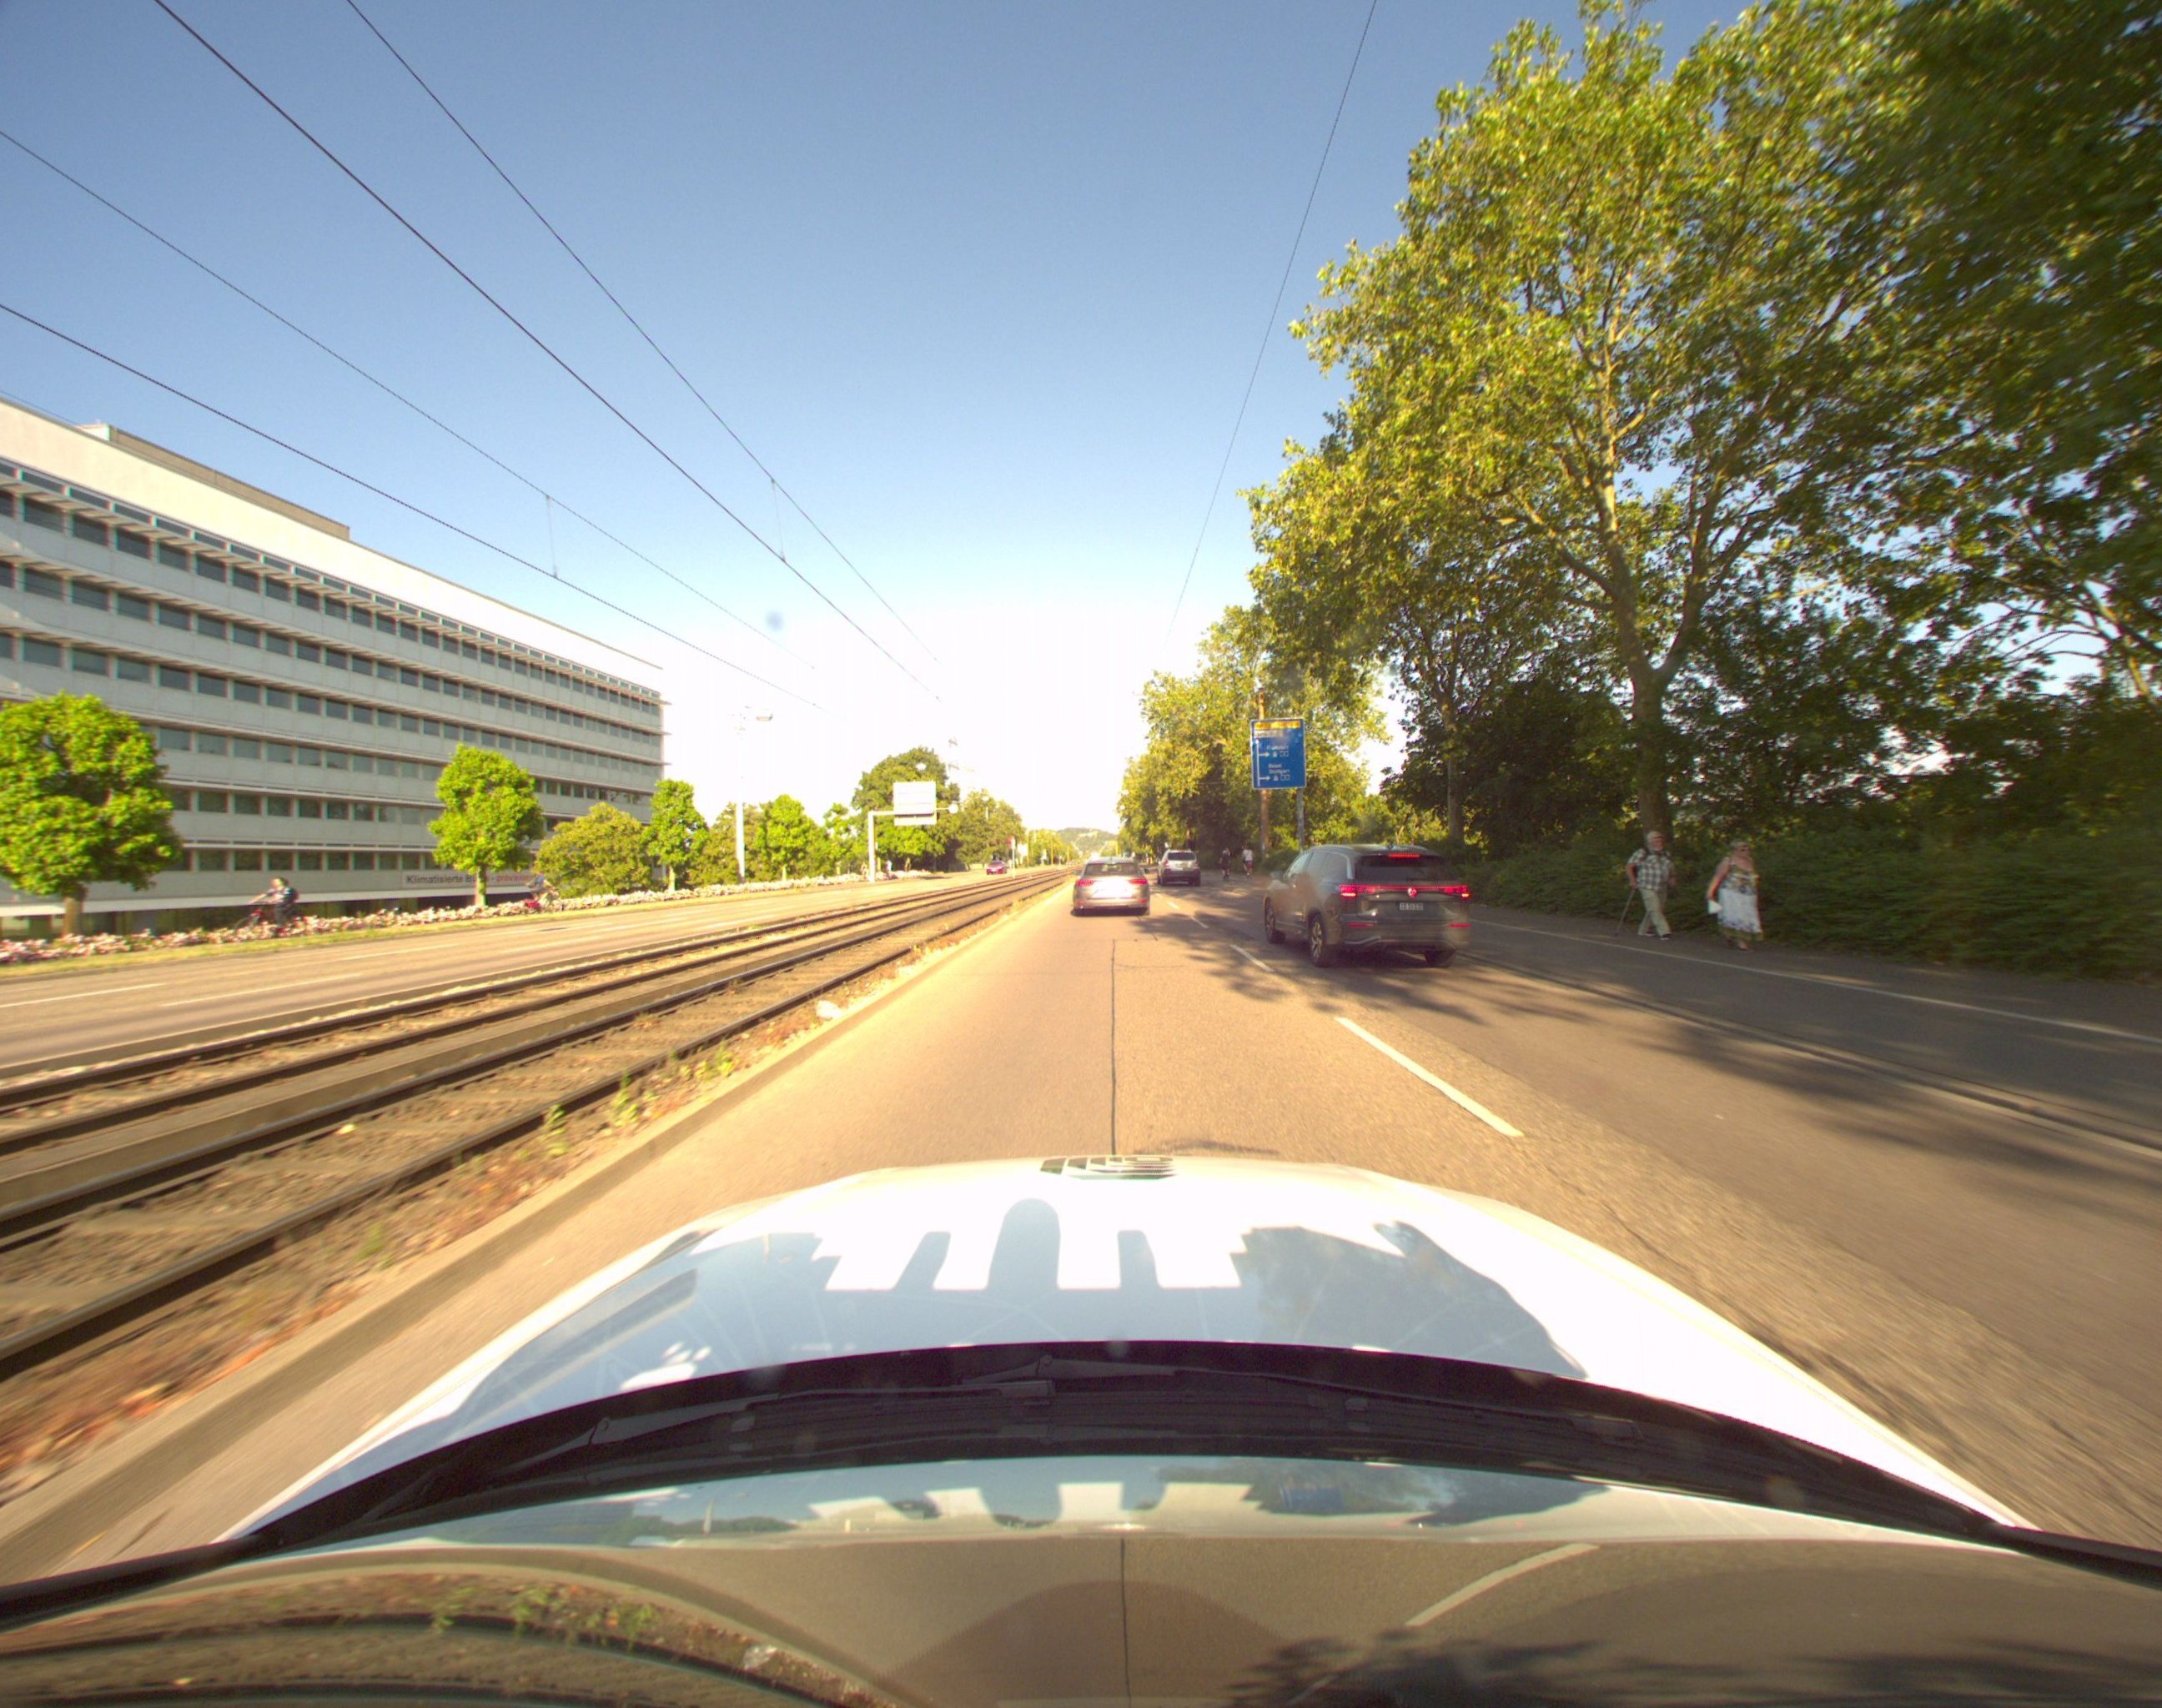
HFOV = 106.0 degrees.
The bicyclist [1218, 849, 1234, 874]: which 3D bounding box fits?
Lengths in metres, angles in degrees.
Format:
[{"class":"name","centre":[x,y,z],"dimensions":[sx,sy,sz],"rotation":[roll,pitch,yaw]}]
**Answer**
[{"class":"bicyclist","centre":[7.364,0.375,41.398],"dimensions":[0.638,1.226,0.891],"rotation":[-2,0,2]}]

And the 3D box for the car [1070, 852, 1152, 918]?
[{"class":"car","centre":[0.795,0.709,21.120],"dimensions":[1.858,1.467,4.669],"rotation":[-1,0,2]}]

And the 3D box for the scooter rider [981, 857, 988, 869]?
[{"class":"scooter rider","centre":[-14.805,1.337,125.239],"dimensions":[0.678,1.848,1.003],"rotation":[-2,0,9]}]

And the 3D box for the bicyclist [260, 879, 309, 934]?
[{"class":"bicyclist","centre":[-24.139,1.576,24.683],"dimensions":[0.657,1.623,0.803],"rotation":[1,0,11]}]

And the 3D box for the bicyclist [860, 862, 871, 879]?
[{"class":"bicyclist","centre":[-18.192,1.413,68.734],"dimensions":[0.622,1.374,0.880],"rotation":[1,0,2]}]

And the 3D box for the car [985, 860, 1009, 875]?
[{"class":"car","centre":[-9.643,1.530,93.673],"dimensions":[2.031,1.503,4.890],"rotation":[-2,0,2]}]

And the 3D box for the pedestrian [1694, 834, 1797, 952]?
[{"class":"pedestrian","centre":[8.780,0.497,10.782],"dimensions":[0.721,1.480,0.722],"rotation":[-2,0,1]}]

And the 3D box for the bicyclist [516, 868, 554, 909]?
[{"class":"bicyclist","centre":[-20.866,1.296,31.142],"dimensions":[0.701,1.512,0.973],"rotation":[1,0,9]}]

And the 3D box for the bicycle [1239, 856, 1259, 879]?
[{"class":"bicycle","centre":[8.526,0.684,41.404],"dimensions":[0.620,1.120,1.814],"rotation":[-2,0,2]}]

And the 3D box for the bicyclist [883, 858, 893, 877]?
[{"class":"bicyclist","centre":[-17.690,1.240,74.815],"dimensions":[0.599,1.659,0.964],"rotation":[1,0,5]}]

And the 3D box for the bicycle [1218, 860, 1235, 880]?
[{"class":"bicycle","centre":[7.377,0.786,41.434],"dimensions":[0.563,0.974,1.789],"rotation":[-2,0,2]}]

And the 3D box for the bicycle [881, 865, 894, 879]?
[{"class":"bicycle","centre":[-17.714,1.650,74.687],"dimensions":[0.599,1.219,1.751],"rotation":[1,0,5]}]

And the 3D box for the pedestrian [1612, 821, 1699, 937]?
[{"class":"pedestrian","centre":[8.857,0.380,12.590],"dimensions":[0.719,1.707,0.813],"rotation":[-2,0,1]}]

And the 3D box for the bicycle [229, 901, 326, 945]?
[{"class":"bicycle","centre":[-24.172,2.047,24.549],"dimensions":[0.657,1.150,2.028],"rotation":[1,0,11]}]

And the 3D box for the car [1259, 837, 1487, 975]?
[{"class":"car","centre":[3.999,0.610,12.017],"dimensions":[1.838,1.661,4.440],"rotation":[0,0,1]}]

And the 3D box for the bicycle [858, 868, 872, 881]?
[{"class":"bicycle","centre":[-18.208,1.754,68.713],"dimensions":[0.622,1.058,1.704],"rotation":[1,0,2]}]

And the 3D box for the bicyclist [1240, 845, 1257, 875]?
[{"class":"bicyclist","centre":[8.519,0.307,41.436],"dimensions":[0.683,1.509,0.891],"rotation":[-1,0,2]}]

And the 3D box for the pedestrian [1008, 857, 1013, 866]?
[{"class":"pedestrian","centre":[-13.771,1.523,159.027],"dimensions":[0.718,1.756,0.840],"rotation":[0,-2,23]}]

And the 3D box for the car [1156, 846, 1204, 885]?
[{"class":"car","centre":[4.740,0.511,39.413],"dimensions":[1.876,1.795,4.001],"rotation":[1,0,1]}]

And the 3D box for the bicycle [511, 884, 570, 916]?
[{"class":"bicycle","centre":[-20.823,1.751,31.432],"dimensions":[0.701,1.073,2.032],"rotation":[1,0,9]}]
